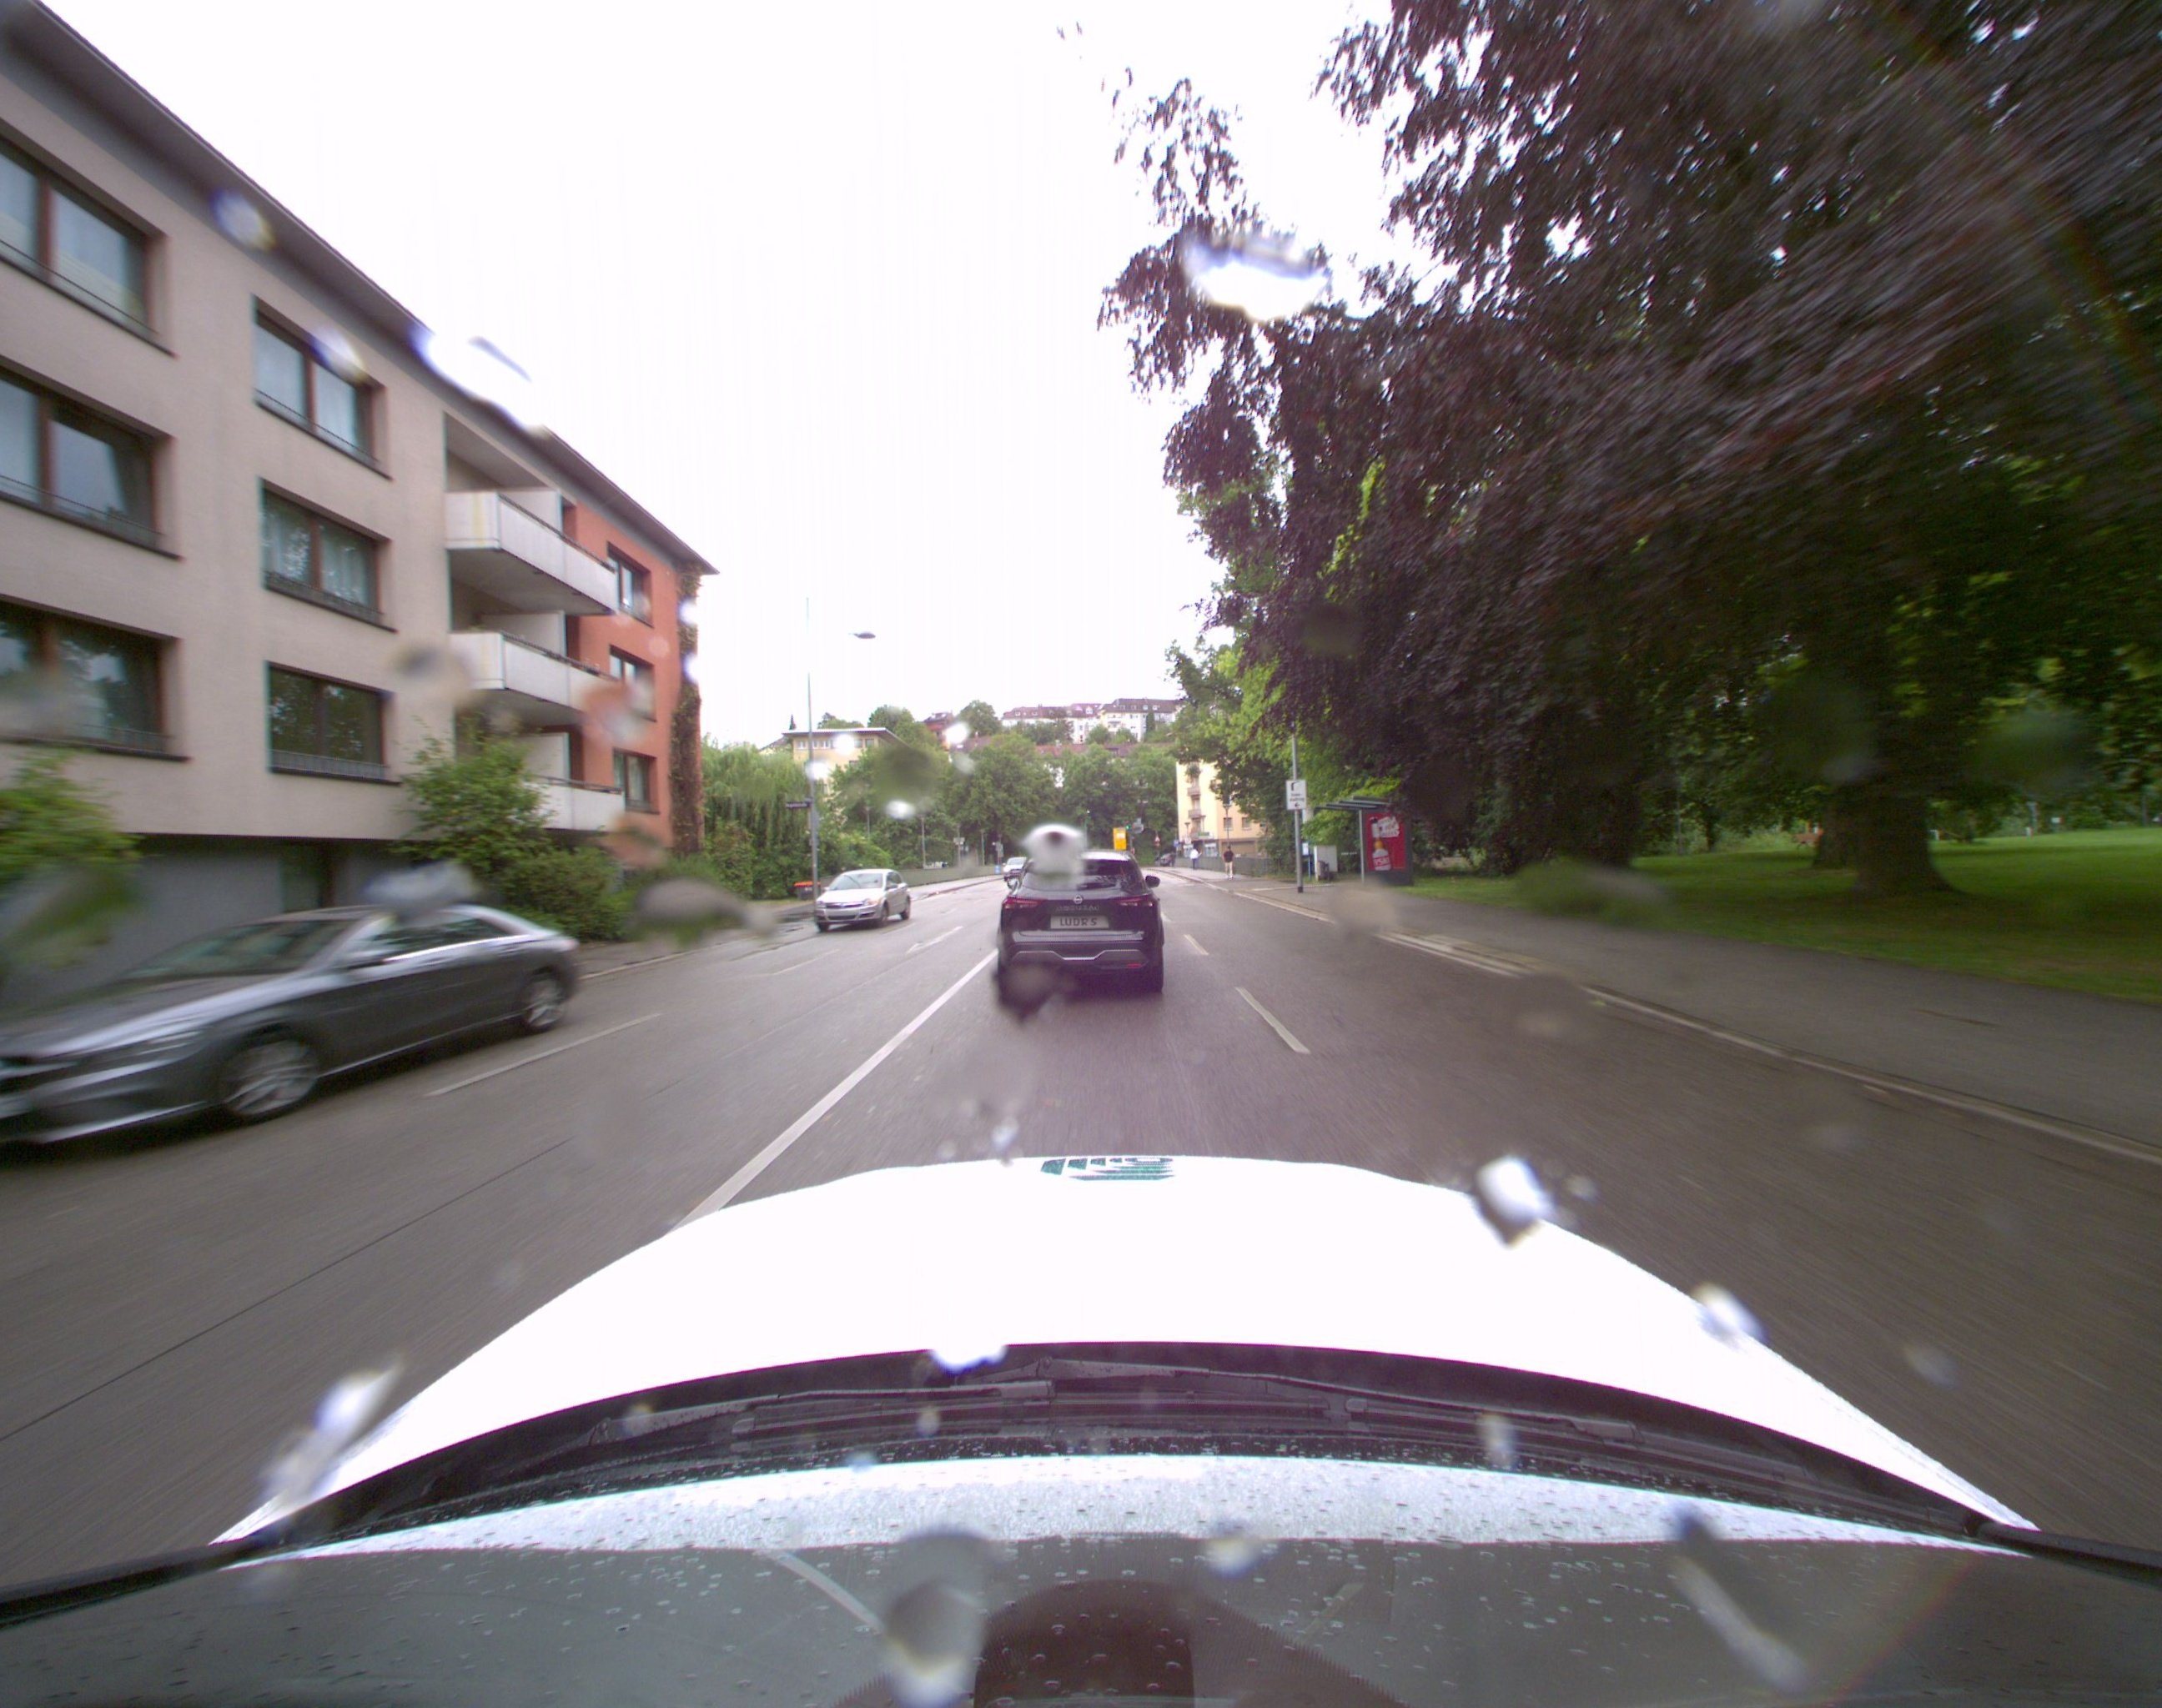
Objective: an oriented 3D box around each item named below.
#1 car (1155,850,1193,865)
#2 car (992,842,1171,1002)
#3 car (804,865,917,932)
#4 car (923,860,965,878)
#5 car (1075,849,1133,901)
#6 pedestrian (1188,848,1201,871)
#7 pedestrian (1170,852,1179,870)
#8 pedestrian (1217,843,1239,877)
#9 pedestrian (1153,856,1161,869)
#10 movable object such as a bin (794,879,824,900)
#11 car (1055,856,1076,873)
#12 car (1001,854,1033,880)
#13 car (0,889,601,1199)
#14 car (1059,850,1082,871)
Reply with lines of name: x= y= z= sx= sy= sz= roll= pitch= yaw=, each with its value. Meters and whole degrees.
car: x=12.004 y=0.456 z=105.258 sx=4.388 sy=1.649 sz=1.868 roll=-3 pitch=-1 yaw=-24
car: x=0.059 y=0.692 z=10.340 sx=1.804 sy=1.603 sz=4.001 roll=-1 pitch=0 yaw=1
car: x=-5.664 y=1.093 z=21.477 sx=1.807 sy=1.415 sz=4.047 roll=-3 pitch=0 yaw=0
car: x=-16.232 y=1.726 z=96.694 sx=4.738 sy=1.854 sz=1.995 roll=-2 pitch=1 yaw=-8
car: x=0.769 y=0.644 z=27.248 sx=1.804 sy=1.603 sz=4.001 roll=-1 pitch=0 yaw=1
pedestrian: x=8.981 y=0.442 z=64.540 sx=0.777 sy=1.752 sz=1.061 roll=-2 pitch=-1 yaw=1
pedestrian: x=9.196 y=0.658 z=80.259 sx=0.758 sy=1.677 sz=0.781 roll=-4 pitch=0 yaw=1
pedestrian: x=7.722 y=0.308 z=42.710 sx=0.844 sy=1.676 sz=1.168 roll=-4 pitch=-1 yaw=1
pedestrian: x=9.751 y=1.079 z=105.044 sx=0.859 sy=1.619 sz=0.840 roll=-3 pitch=-1 yaw=1
movable object such as a bin: x=-11.959 y=1.565 z=35.854 sx=0.962 sy=0.877 sz=0.832 roll=-3 pitch=-1 yaw=1
car: x=-1.420 y=0.973 z=76.389 sx=1.776 sy=1.474 sz=4.165 roll=-3 pitch=0 yaw=-1
car: x=-4.438 y=0.878 z=56.851 sx=1.808 sy=1.579 sz=4.230 roll=-3 pitch=0 yaw=-1
car: x=-6.366 y=1.170 z=6.736 sx=1.806 sy=1.415 sz=4.685 roll=-3 pitch=0 yaw=2
car: x=-1.175 y=0.716 z=95.681 sx=2.281 sy=2.308 sz=6.511 roll=-3 pitch=0 yaw=1
